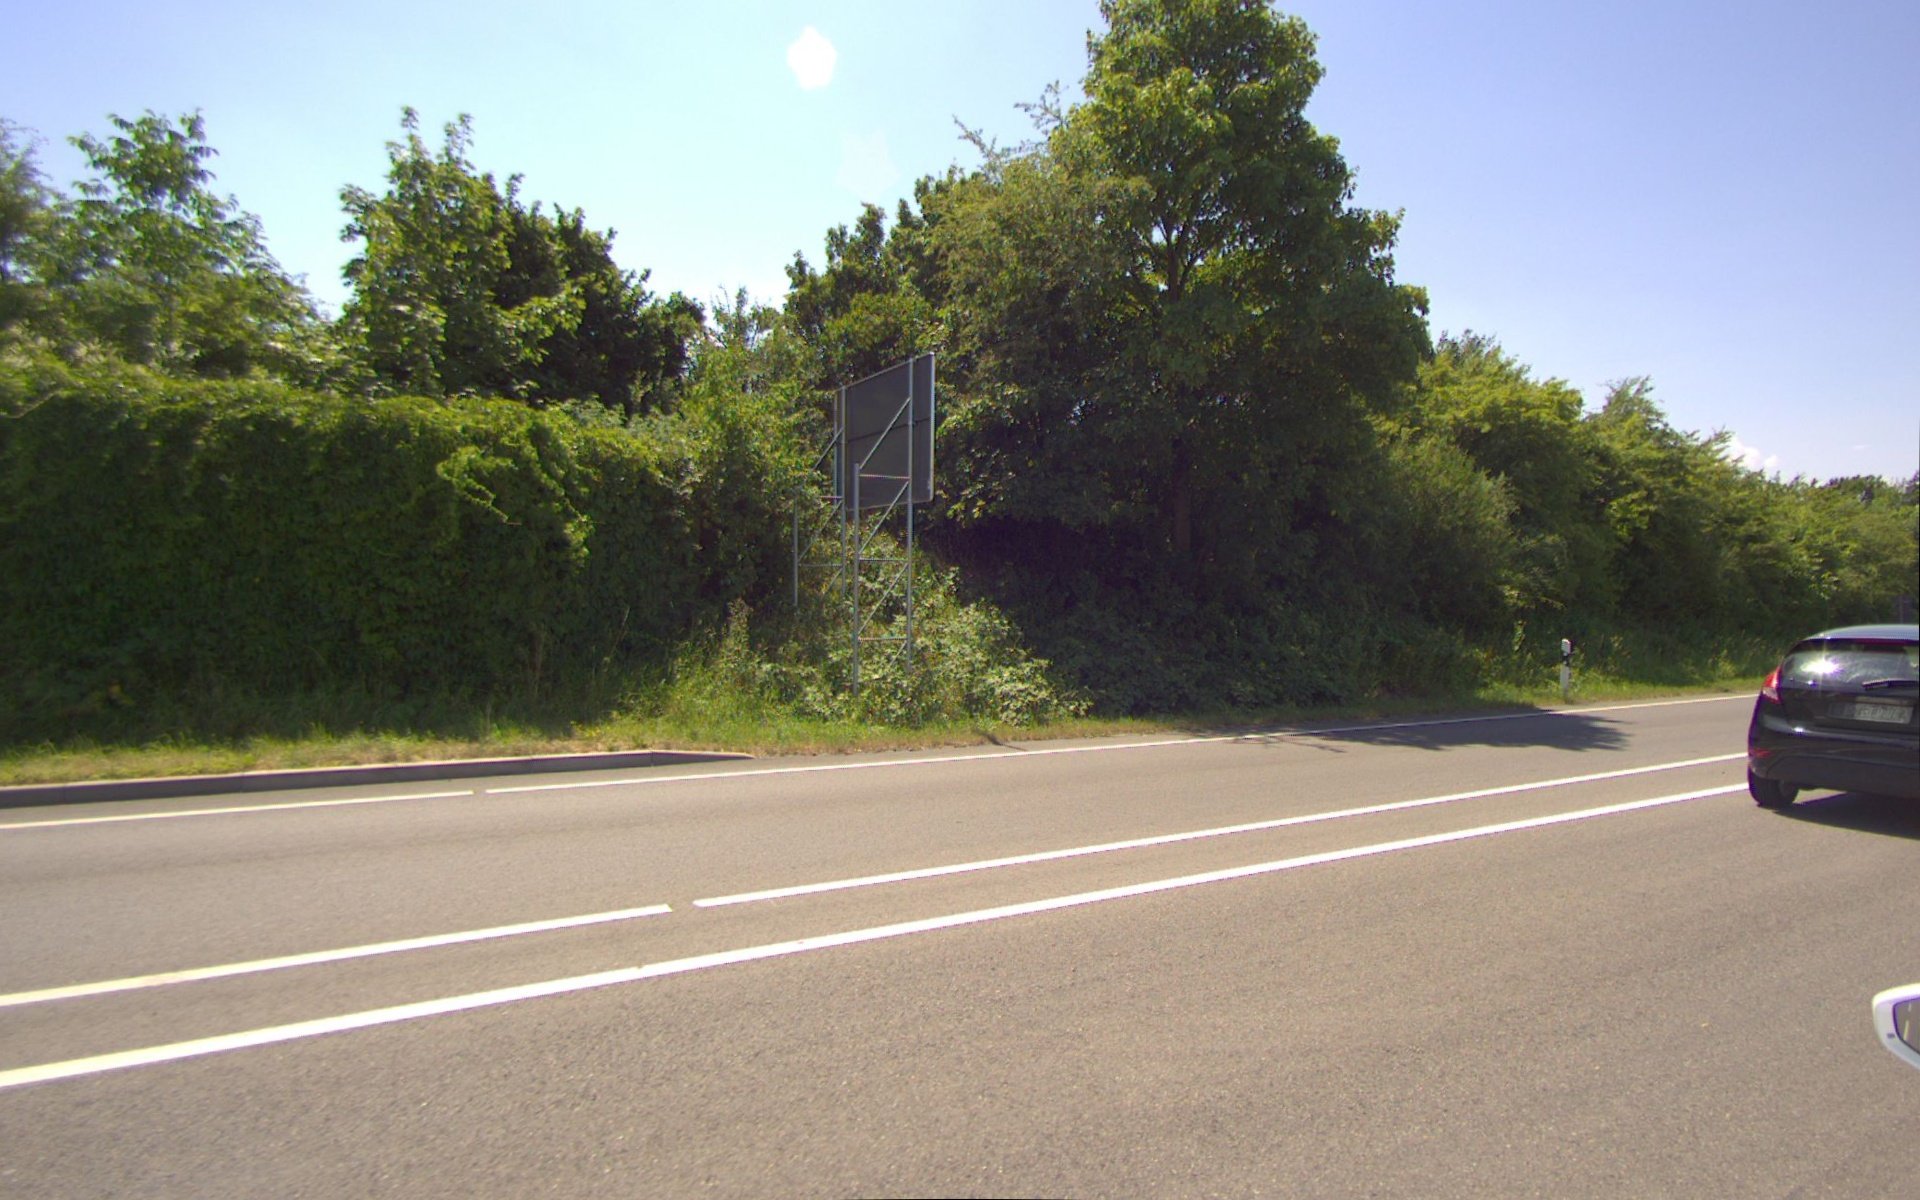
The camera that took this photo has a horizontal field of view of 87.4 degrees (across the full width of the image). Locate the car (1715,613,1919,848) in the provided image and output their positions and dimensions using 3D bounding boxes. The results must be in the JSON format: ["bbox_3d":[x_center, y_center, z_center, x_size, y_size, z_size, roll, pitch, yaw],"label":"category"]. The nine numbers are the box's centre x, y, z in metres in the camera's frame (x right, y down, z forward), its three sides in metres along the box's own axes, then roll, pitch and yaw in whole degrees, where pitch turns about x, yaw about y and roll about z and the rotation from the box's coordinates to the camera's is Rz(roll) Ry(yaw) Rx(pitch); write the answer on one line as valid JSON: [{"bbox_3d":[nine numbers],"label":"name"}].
[{"bbox_3d":[8.070,0.902,8.162,4.159,1.514,1.644,0,1,-31],"label":"car"}]
